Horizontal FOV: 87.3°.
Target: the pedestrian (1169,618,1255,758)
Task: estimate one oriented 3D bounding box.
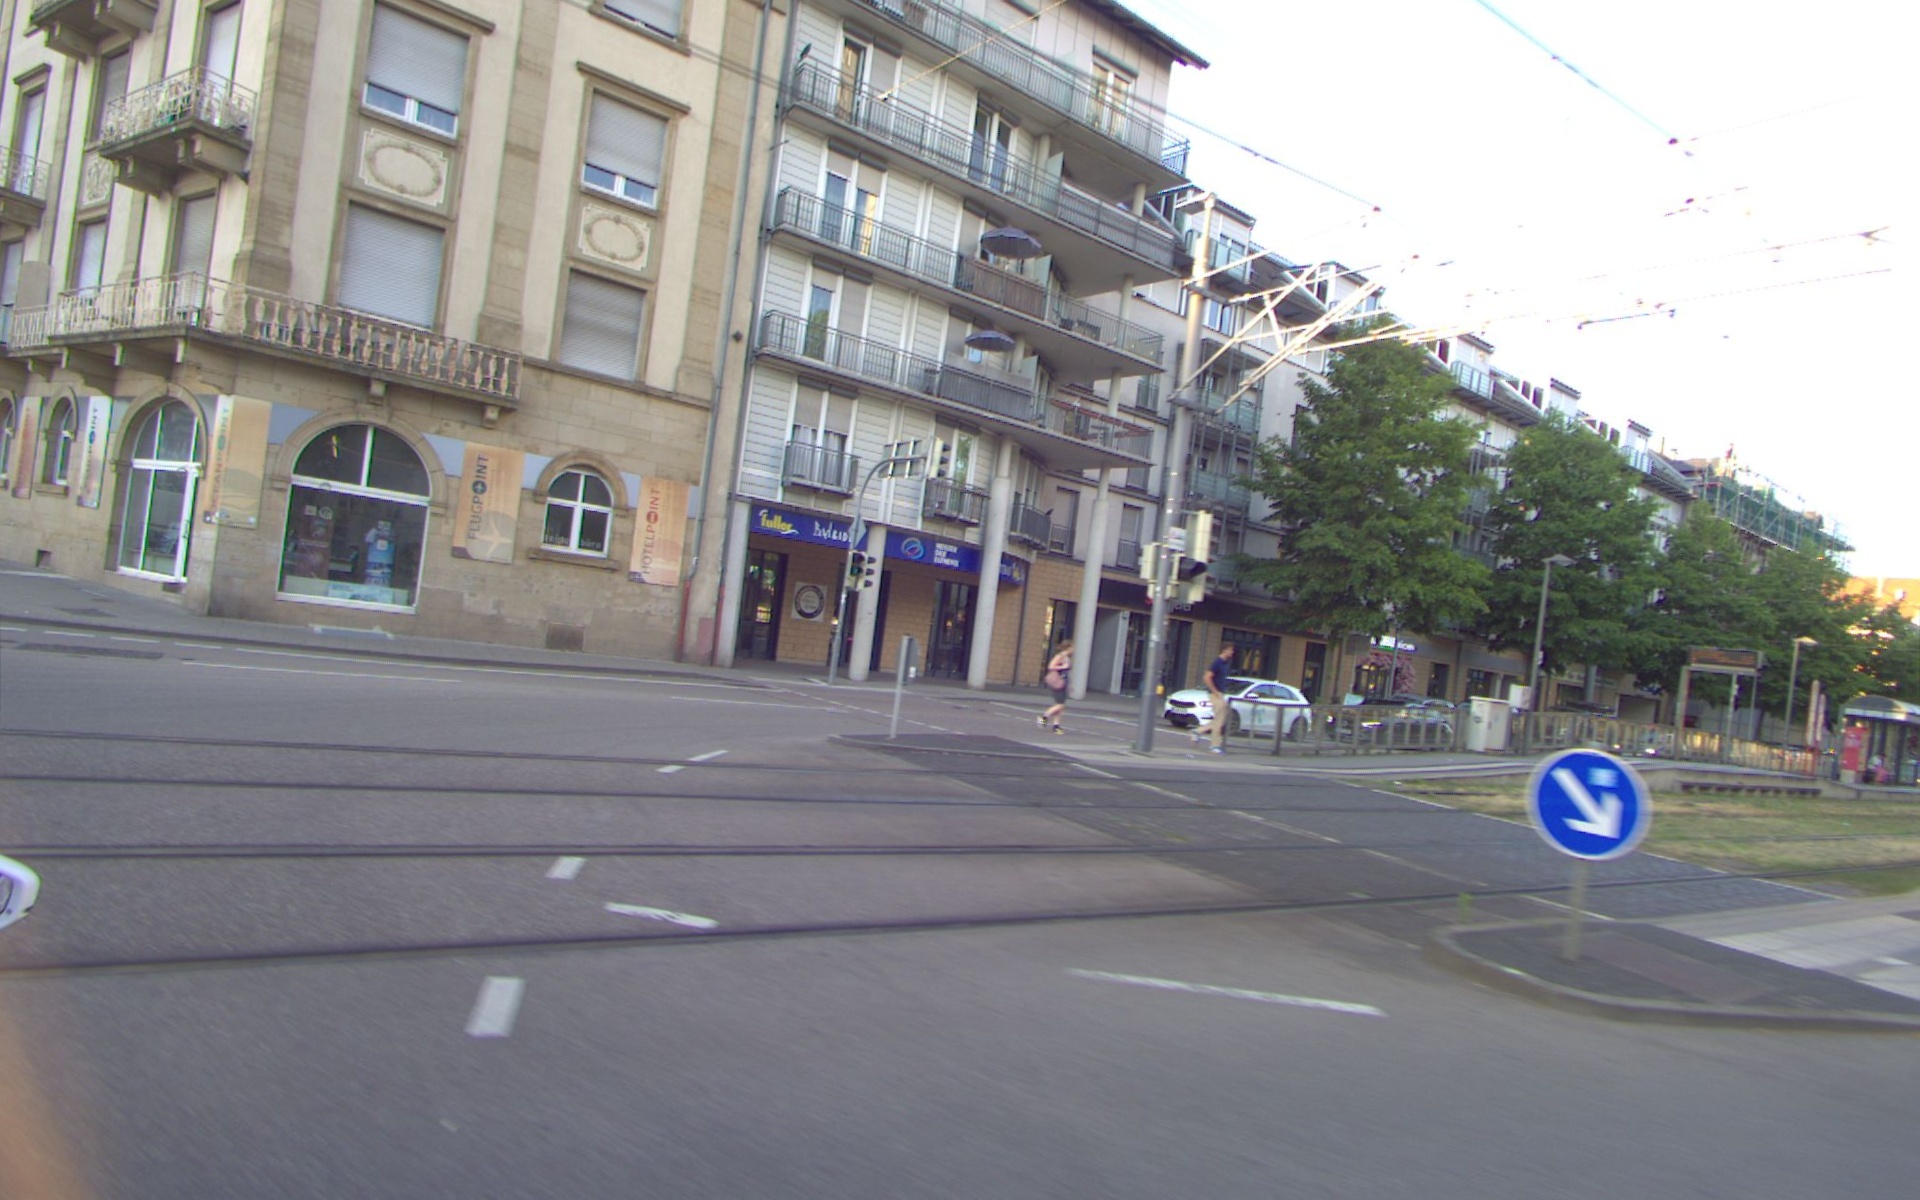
[{"bbox_3d":[4.285,1.491,17.092,0.815,2.234,0.861,9,-2,-41],"label":"pedestrian"}]

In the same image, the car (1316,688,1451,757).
[{"bbox_3d":[12.384,3.585,29.326,3.970,1.502,1.831,10,-3,-38],"label":"car"}]

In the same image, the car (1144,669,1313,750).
[{"bbox_3d":[6.806,2.779,25.397,3.964,1.502,1.834,9,-3,-33],"label":"car"}]

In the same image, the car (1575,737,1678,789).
[{"bbox_3d":[25.786,6.296,38.878,3.964,1.502,1.834,9,-3,-33],"label":"car"}]

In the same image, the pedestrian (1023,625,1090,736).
[{"bbox_3d":[1.665,1.389,17.416,0.782,1.799,0.539,8,-2,-32],"label":"pedestrian"}]
